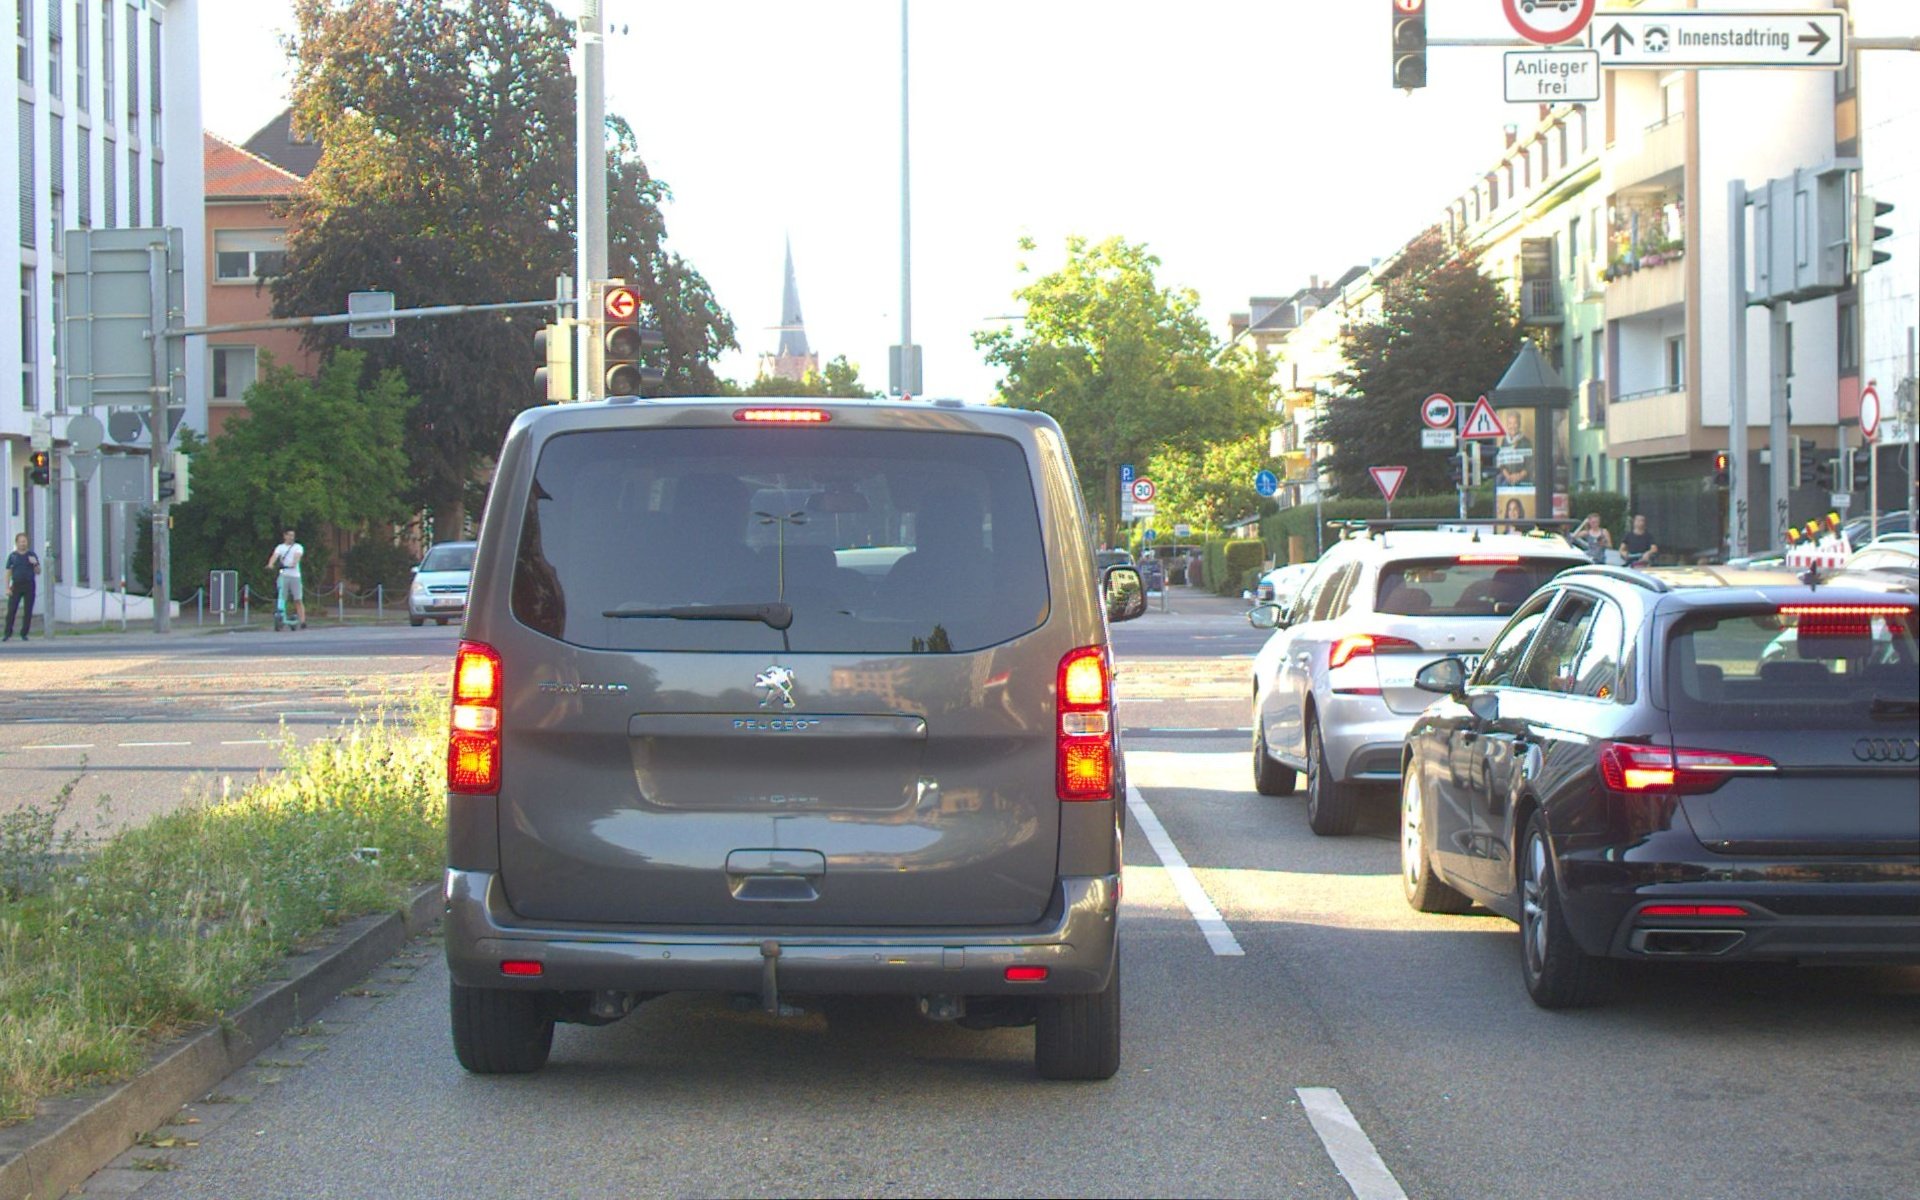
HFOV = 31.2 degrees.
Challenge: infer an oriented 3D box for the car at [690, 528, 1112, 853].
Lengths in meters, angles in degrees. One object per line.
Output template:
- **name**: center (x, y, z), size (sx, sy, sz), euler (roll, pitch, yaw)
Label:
- **car**: center (-0.296, 0.389, 18.346), size (1.993, 1.525, 4.000), euler (-1, 1, 0)

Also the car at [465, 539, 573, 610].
- **car**: center (-9.201, -0.560, 71.913), size (1.856, 1.415, 4.001), euler (-1, 1, -2)

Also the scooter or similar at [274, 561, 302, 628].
- **scooter or similar**: center (-12.129, -0.104, 62.064), size (0.285, 1.184, 1.169), euler (-1, 1, 0)

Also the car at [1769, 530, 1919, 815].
- **car**: center (5.631, 0.337, 18.997), size (1.504, 1.444, 3.305), euler (-1, 1, 0)

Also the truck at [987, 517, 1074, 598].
- **truck**: center (1.872, -1.166, 92.306), size (2.127, 2.079, 4.632), euler (-1, 1, -1)

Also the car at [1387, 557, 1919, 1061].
- **car**: center (2.633, 0.587, 12.094), size (1.681, 1.416, 4.214), euler (1, 1, -1)

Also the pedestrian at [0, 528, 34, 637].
- **pedestrian**: center (-15.118, -0.284, 54.850), size (0.625, 1.716, 0.671), euler (-1, 1, -14)

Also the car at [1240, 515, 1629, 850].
- **car**: center (2.463, 0.365, 18.618), size (1.528, 1.608, 3.745), euler (1, 1, -1)

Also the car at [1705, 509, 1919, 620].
- **car**: center (13.135, -0.531, 49.540), size (4.338, 1.544, 1.788), euler (-1, 1, -7)

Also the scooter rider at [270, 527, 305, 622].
- **scooter rider**: center (-12.139, -0.468, 62.055), size (0.481, 1.691, 0.636), euler (-1, 1, 0)

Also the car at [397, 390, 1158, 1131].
- **car**: center (-0.484, 0.363, 10.992), size (1.907, 1.857, 4.527), euler (1, 1, -1)

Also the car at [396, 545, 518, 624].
- **car**: center (-9.623, -0.320, 65.980), size (1.856, 1.415, 4.001), euler (-1, 1, -2)

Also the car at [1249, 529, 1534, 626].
- **car**: center (6.576, -0.357, 52.606), size (3.986, 1.415, 1.788), euler (-1, 1, -8)
